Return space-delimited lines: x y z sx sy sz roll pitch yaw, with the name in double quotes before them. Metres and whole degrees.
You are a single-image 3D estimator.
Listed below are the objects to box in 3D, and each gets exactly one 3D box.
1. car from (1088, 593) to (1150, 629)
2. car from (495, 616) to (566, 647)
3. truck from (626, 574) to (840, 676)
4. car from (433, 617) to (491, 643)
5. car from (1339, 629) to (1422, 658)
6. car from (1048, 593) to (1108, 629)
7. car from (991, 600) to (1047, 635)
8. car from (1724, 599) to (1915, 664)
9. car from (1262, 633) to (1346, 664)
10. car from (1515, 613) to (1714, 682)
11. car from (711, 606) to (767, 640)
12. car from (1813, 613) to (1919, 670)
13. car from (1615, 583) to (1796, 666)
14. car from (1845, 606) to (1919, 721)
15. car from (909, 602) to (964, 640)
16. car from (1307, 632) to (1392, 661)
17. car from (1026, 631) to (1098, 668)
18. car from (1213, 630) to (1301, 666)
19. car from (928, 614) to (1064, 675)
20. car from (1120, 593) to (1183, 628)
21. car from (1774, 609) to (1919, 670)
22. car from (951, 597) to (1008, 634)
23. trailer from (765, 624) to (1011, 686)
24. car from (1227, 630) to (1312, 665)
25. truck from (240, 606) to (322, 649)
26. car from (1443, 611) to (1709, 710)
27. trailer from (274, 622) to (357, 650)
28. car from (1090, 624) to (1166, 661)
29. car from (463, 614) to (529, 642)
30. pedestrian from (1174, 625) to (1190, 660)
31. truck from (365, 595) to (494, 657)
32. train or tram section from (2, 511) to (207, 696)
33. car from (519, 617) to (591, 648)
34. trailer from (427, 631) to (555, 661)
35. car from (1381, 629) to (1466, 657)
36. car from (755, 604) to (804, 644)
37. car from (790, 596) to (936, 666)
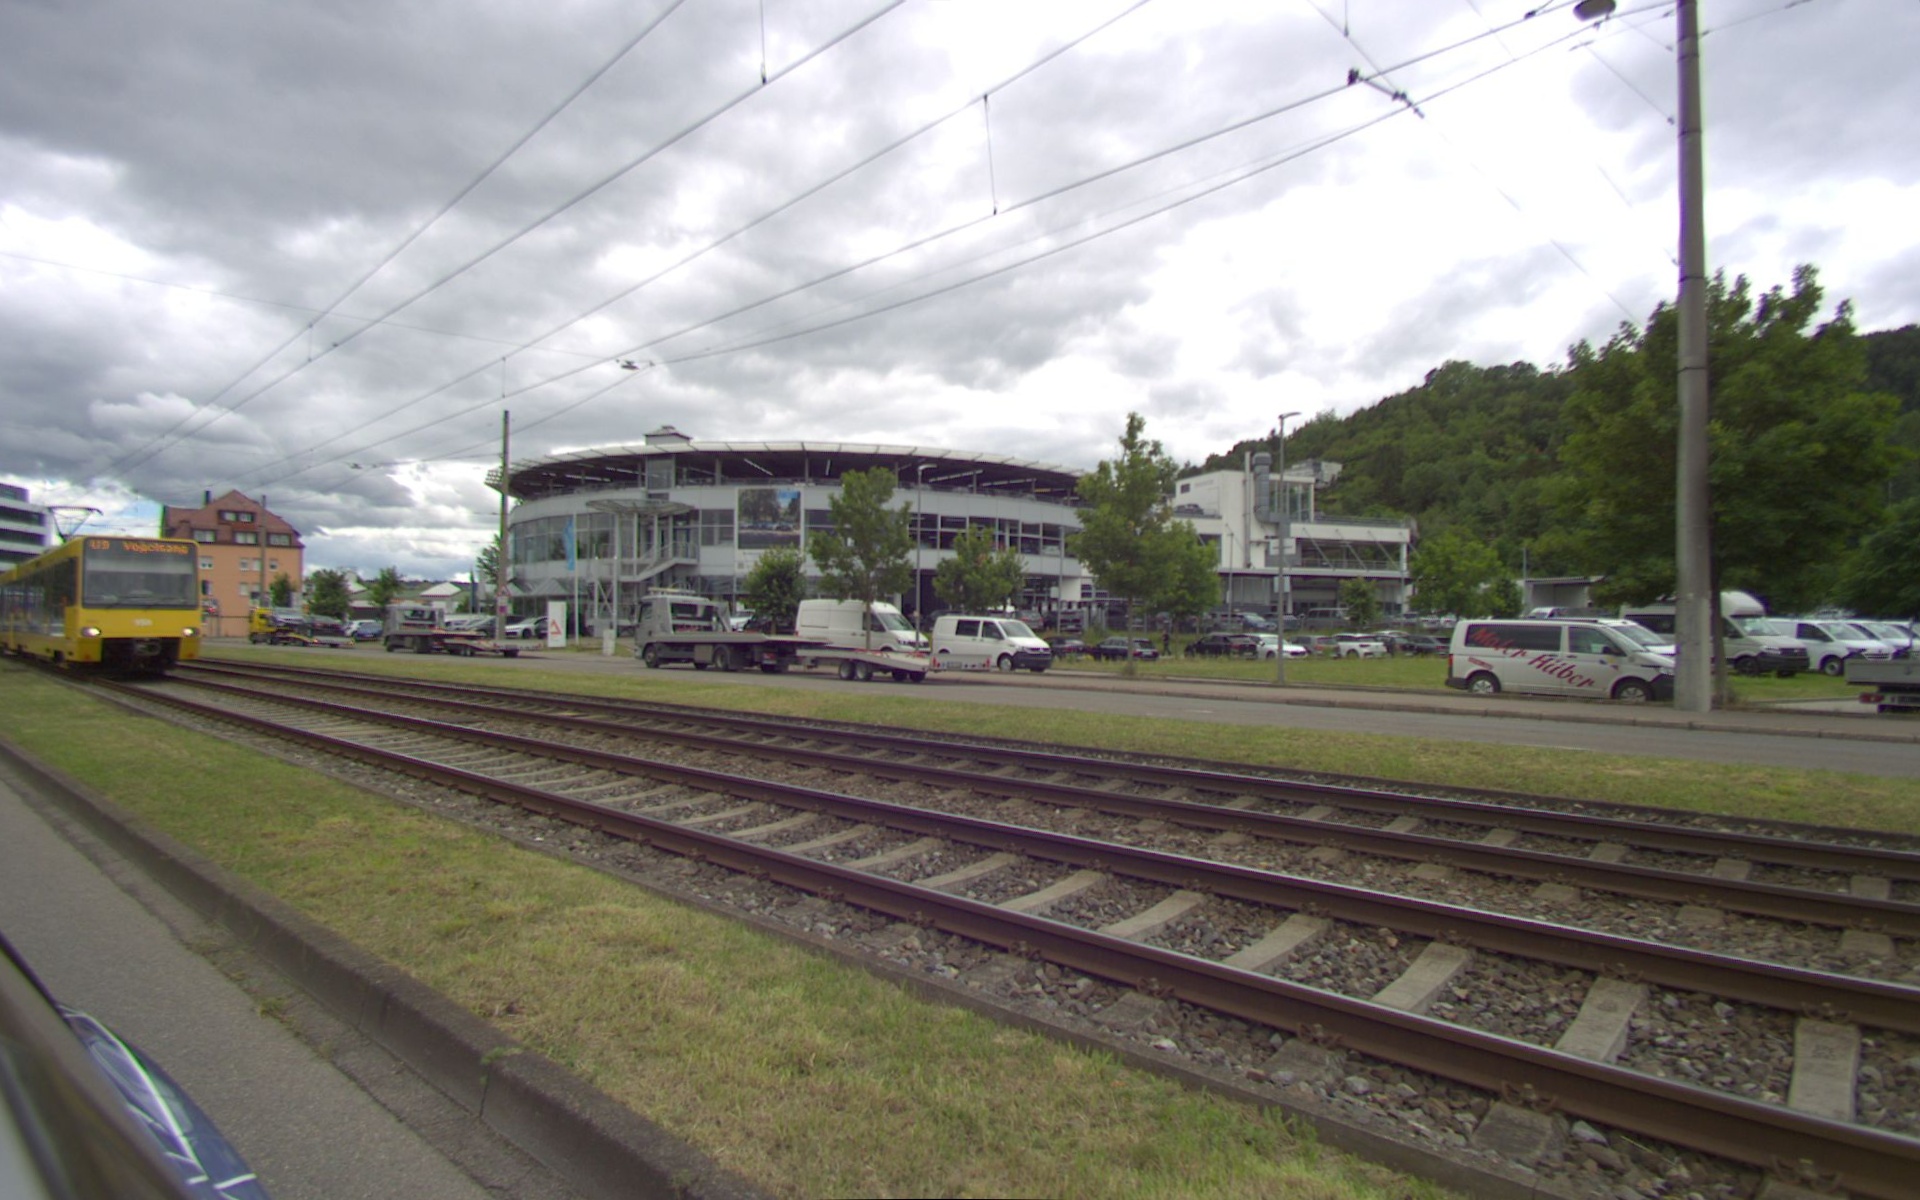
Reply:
"car" 9.403 0.670 60.045 1.965 2.029 4.013 1 -1 -19
"car" -28.670 2.087 67.647 1.992 1.962 3.959 -1 -2 30
"truck" -7.742 0.893 33.570 2.830 3.004 8.459 4 -4 -45
"car" -38.100 2.292 77.554 3.930 1.962 2.006 1 -2 -26
"car" 22.112 2.255 53.366 1.649 1.447 3.724 1 -2 -36
"car" 6.843 0.643 59.086 1.965 2.029 4.013 1 -1 -19
"car" 3.458 1.063 60.254 1.965 2.029 4.013 1 -1 -19
"car" 30.559 1.100 36.204 1.966 2.144 4.875 1 -1 -17
"car" 17.333 2.432 51.159 1.649 1.447 3.724 1 -2 -36
"car" 20.901 1.468 32.635 1.965 2.029 5.150 1 -1 -22
"car" -13.600 1.452 62.545 1.979 2.029 3.986 0 -2 11
"car" 36.574 1.593 39.352 1.966 2.144 4.875 1 -1 -17
"car" 26.366 0.871 36.036 1.965 2.726 4.876 1 -1 -20
"car" 19.561 1.162 18.924 5.615 2.023 2.151 1 -2 -21
"car" -1.354 1.200 56.296 1.965 2.029 4.012 1 -2 -19
"car" 19.899 2.351 51.797 1.649 1.447 3.724 1 -2 -36
"car" 4.751 2.298 47.681 1.648 1.630 3.728 0 -2 -26
"car" 14.012 2.224 47.927 1.649 1.630 3.724 1 -2 -36
"car" 1.209 1.549 36.125 4.809 2.029 1.971 -2 -2 44
"car" 11.443 0.652 60.625 1.965 2.029 4.013 1 -1 -19
"car" 33.655 1.434 37.697 1.966 2.144 4.875 1 -1 -17
"car" 1.068 0.884 57.306 1.965 2.029 4.013 1 -1 -19
"trailer" -2.185 1.483 27.988 2.726 1.507 7.229 5 -5 -45
"car" 15.218 2.328 49.918 1.649 1.630 3.724 1 -2 -36
"truck" -48.512 1.971 72.220 9.069 2.881 3.015 -2 -2 44
"car" 13.951 1.293 23.164 1.970 2.029 4.864 1 -2 -44
"trailer" -42.435 2.321 66.501 7.570 1.701 2.944 -2 -2 44
"car" 7.803 1.949 47.311 1.648 1.630 3.728 0 -2 -25
"car" -32.895 1.976 71.721 3.934 1.962 2.005 1 -2 -35
"pedestrian" 9.952 1.893 45.425 0.492 1.536 0.613 0 -1 -9
"truck" -27.744 1.413 52.707 8.961 2.944 3.073 -2 -4 43
"train or tram section" -25.298 0.122 29.346 3.349 4.037 16.956 -1 0 -44
"car" -26.195 2.076 65.575 1.992 1.962 3.959 -1 -2 30
"trailer" -21.931 2.118 47.194 7.007 1.287 3.015 -2 -4 43
"car" 24.500 2.254 53.561 1.649 1.447 3.724 1 -2 -36
"car" -9.754 1.297 54.380 1.965 2.029 4.012 1 -2 -19
"car" -3.901 1.230 40.118 5.846 2.580 1.977 -1 -2 33
